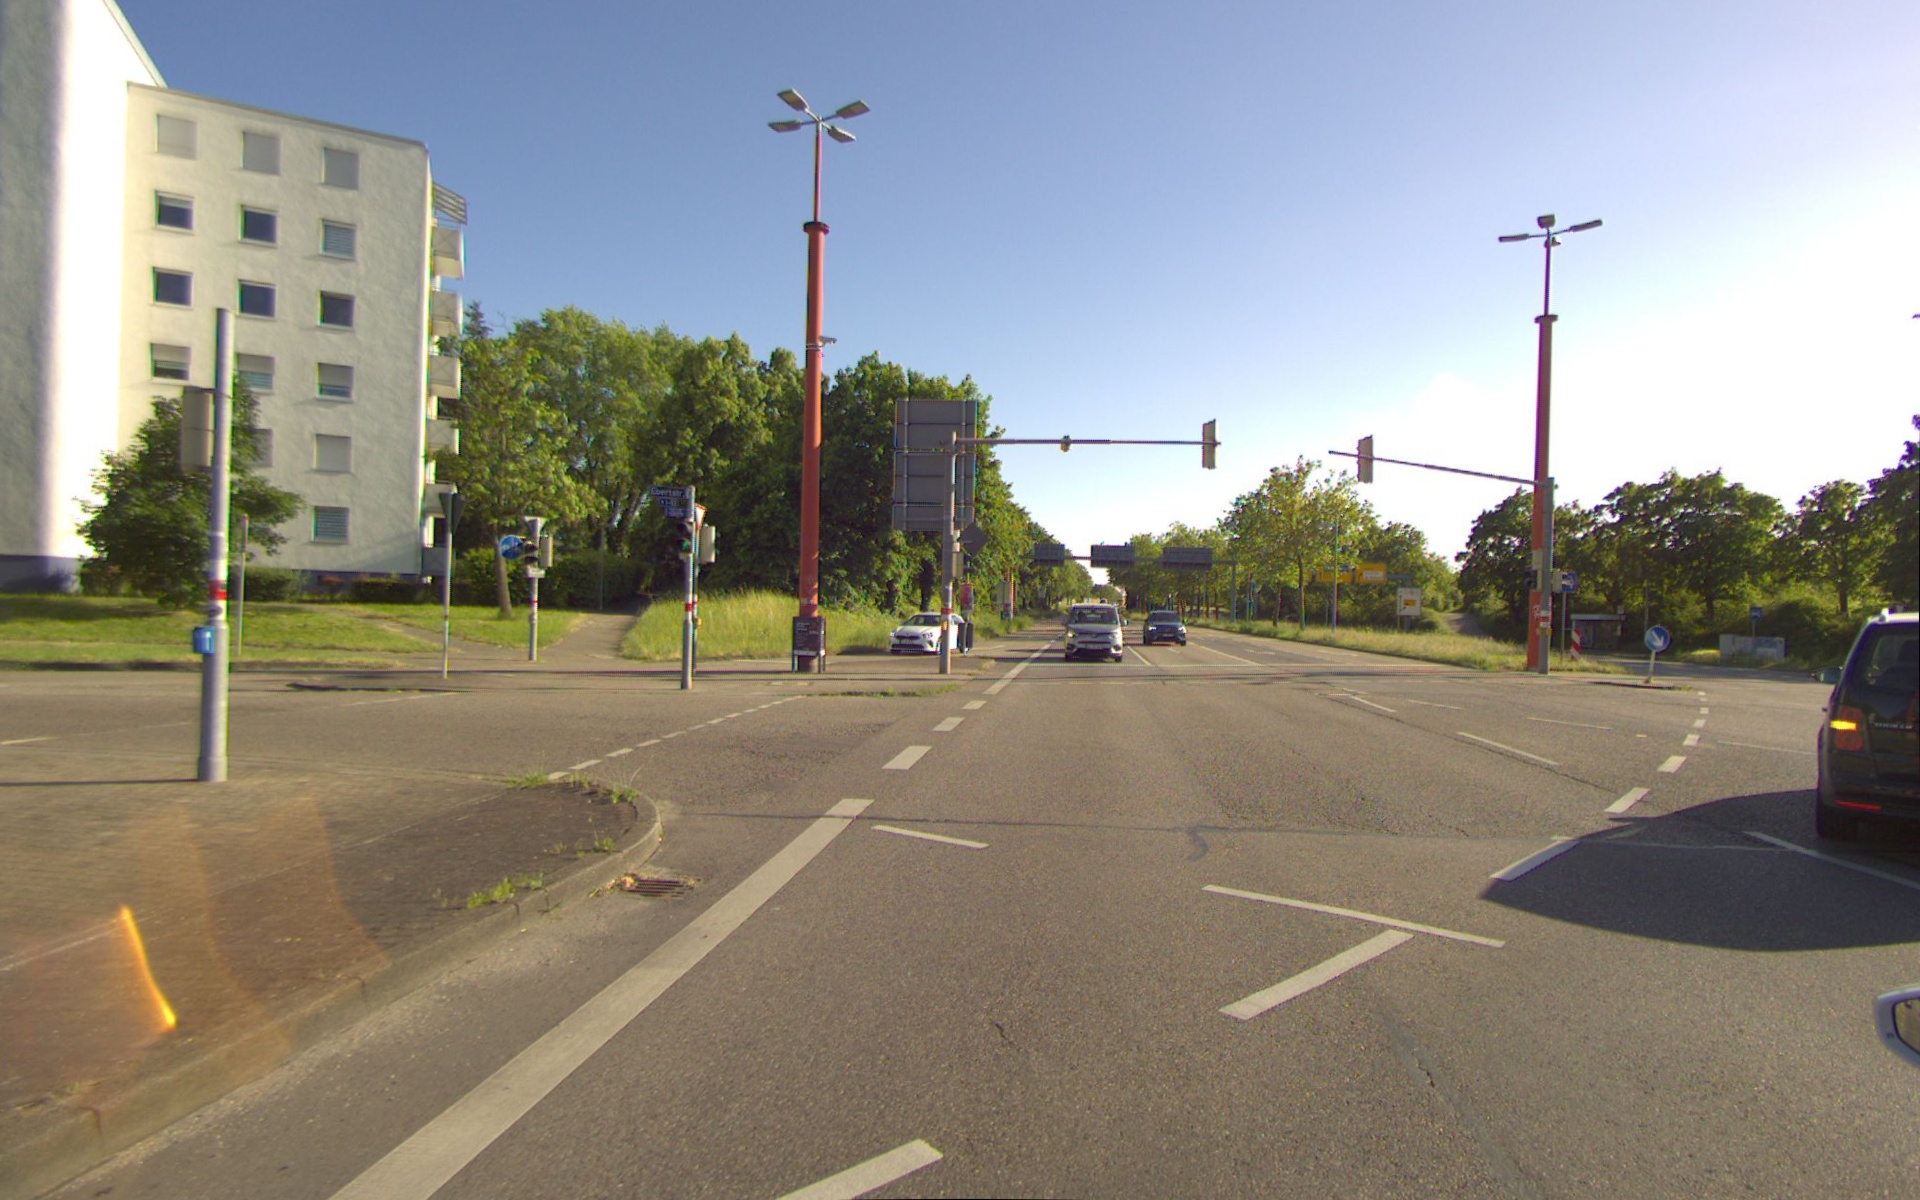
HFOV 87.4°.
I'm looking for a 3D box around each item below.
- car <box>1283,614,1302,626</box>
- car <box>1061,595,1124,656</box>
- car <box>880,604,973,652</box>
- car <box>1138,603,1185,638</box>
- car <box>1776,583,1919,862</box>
[{"bbox_3d":[45.634,2.710,138.094,1.737,1.483,4.369,2,0,9],"label":"car"},{"bbox_3d":[4.206,0.779,32.096,1.866,1.799,4.449,0,0,7],"label":"car"},{"bbox_3d":[-1.109,0.947,35.339,1.867,1.571,4.260,0,0,19],"label":"car"},{"bbox_3d":[9.714,0.973,48.774,1.866,1.632,4.568,0,0,7],"label":"car"},{"bbox_3d":[7.679,0.794,7.535,4.888,1.666,1.751,2,0,-43],"label":"car"}]
